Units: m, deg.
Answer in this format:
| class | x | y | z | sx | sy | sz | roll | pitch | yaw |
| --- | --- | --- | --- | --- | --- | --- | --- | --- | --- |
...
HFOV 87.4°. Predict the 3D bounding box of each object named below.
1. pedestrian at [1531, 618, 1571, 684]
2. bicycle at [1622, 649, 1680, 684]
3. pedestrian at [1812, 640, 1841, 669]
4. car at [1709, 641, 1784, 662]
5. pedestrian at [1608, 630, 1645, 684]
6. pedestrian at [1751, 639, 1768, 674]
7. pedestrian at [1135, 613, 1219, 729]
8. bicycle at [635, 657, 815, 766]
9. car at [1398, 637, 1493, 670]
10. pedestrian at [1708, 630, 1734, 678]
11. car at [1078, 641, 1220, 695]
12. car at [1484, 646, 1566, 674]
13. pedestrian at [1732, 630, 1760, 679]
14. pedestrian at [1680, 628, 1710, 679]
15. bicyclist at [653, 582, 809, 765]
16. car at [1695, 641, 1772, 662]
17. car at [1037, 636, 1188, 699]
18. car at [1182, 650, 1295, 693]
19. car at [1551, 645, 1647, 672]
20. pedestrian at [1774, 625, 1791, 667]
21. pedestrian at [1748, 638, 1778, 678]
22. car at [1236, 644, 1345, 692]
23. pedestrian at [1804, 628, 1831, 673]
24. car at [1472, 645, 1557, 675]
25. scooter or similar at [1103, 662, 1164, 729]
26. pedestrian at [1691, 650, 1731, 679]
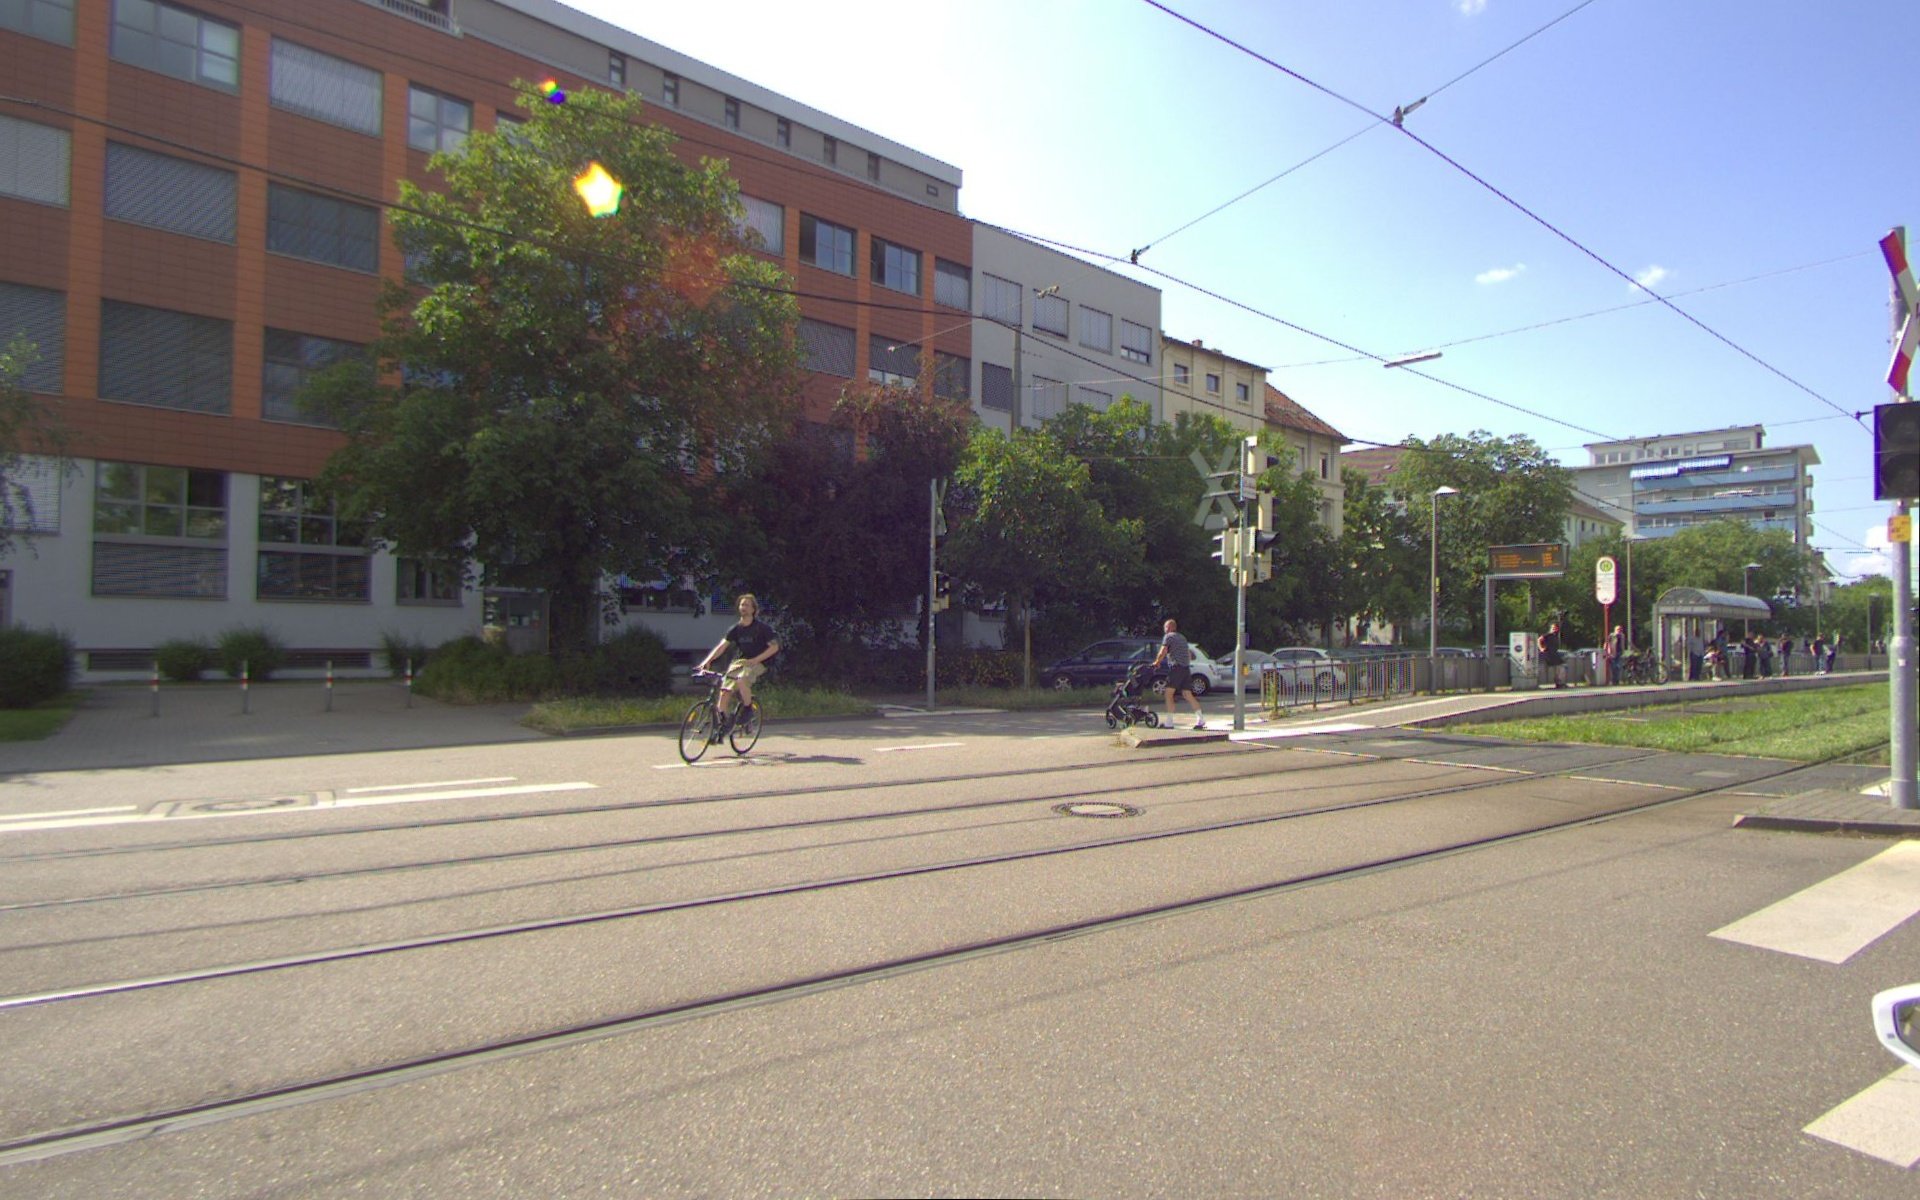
| class | x | y | z | sx | sy | sz | roll | pitch | yaw |
| --- | --- | --- | --- | --- | --- | --- | --- | --- | --- |
| pedestrian | 15.926 | 1.377 | 27.069 | 0.654 | 1.749 | 0.715 | 0 | -2 | 3 |
| bicycle | 20.247 | 1.960 | 29.434 | 1.750 | 0.987 | 0.683 | 1 | -4 | -30 |
| pedestrian | 43.942 | 2.778 | 50.939 | 1.015 | 1.456 | 0.701 | -3 | -3 | 36 |
| car | 57.093 | 3.697 | 72.972 | 3.920 | 1.466 | 1.729 | 0 | -2 | 16 |
| pedestrian | 19.950 | 1.701 | 30.072 | 0.678 | 1.590 | 0.660 | 1 | -4 | -32 |
| pedestrian | 33.679 | 2.377 | 42.310 | 0.482 | 1.471 | 0.461 | -2 | -3 | 41 |
| pedestrian | 3.498 | 1.133 | 16.189 | 0.995 | 1.798 | 0.864 | 2 | -4 | -39 |
| bicycle | -2.803 | 1.285 | 12.081 | 1.142 | 1.193 | 1.777 | -3 | -5 | 43 |
| car | 19.979 | 2.190 | 41.418 | 3.182 | 1.326 | 1.457 | 0 | -2 | 2 |
| pedestrian | 28.001 | 1.975 | 36.942 | 0.551 | 1.759 | 0.590 | 2 | -3 | -35 |
| car | 5.654 | 2.017 | 30.097 | 4.049 | 1.518 | 1.727 | 0 | -2 | 11 |
| car | 27.886 | 2.968 | 49.632 | 3.181 | 1.326 | 1.457 | 0 | -2 | 5 |
| pedestrian | 29.128 | 2.006 | 37.238 | 0.631 | 1.789 | 0.601 | 1 | -2 | -30 |
| pedestrian | 25.030 | 1.827 | 34.198 | 0.651 | 1.714 | 0.650 | 2 | -3 | -39 |
| bicyclist | -2.740 | 0.863 | 12.110 | 0.937 | 2.040 | 1.567 | -2 | -3 | 43 |
| car | 53.327 | 3.559 | 69.335 | 3.919 | 1.404 | 1.640 | 0 | -2 | 5 |
| car | 4.289 | 1.857 | 28.094 | 4.049 | 1.662 | 1.727 | 0 | -2 | 11 |
| car | 8.684 | 2.233 | 31.551 | 3.320 | 1.252 | 1.546 | 0 | -2 | 11 |
| car | 33.991 | 3.097 | 53.544 | 3.919 | 1.385 | 1.718 | -1 | -3 | 10 |
| pedestrian | 34.050 | 1.905 | 41.575 | 0.482 | 1.734 | 0.461 | -2 | -3 | 41 |
| pedestrian | 29.832 | 2.156 | 37.326 | 0.552 | 1.444 | 0.656 | 0 | -2 | -2 |
| car | 11.019 | 2.265 | 33.697 | 3.320 | 1.525 | 1.546 | 0 | -2 | 13 |
| pedestrian | 39.259 | 2.299 | 46.001 | 0.656 | 2.040 | 0.795 | 2 | -2 | -37 |
| car | 26.141 | 2.816 | 47.417 | 3.181 | 1.326 | 1.457 | 0 | -2 | 5 |
| scooter or similar | 2.852 | 1.565 | 16.593 | 0.938 | 1.078 | 0.798 | -1 | -3 | 9 |
| pedestrian | 26.136 | 2.244 | 34.971 | 0.790 | 1.001 | 0.918 | 4 | -5 | -37 |
